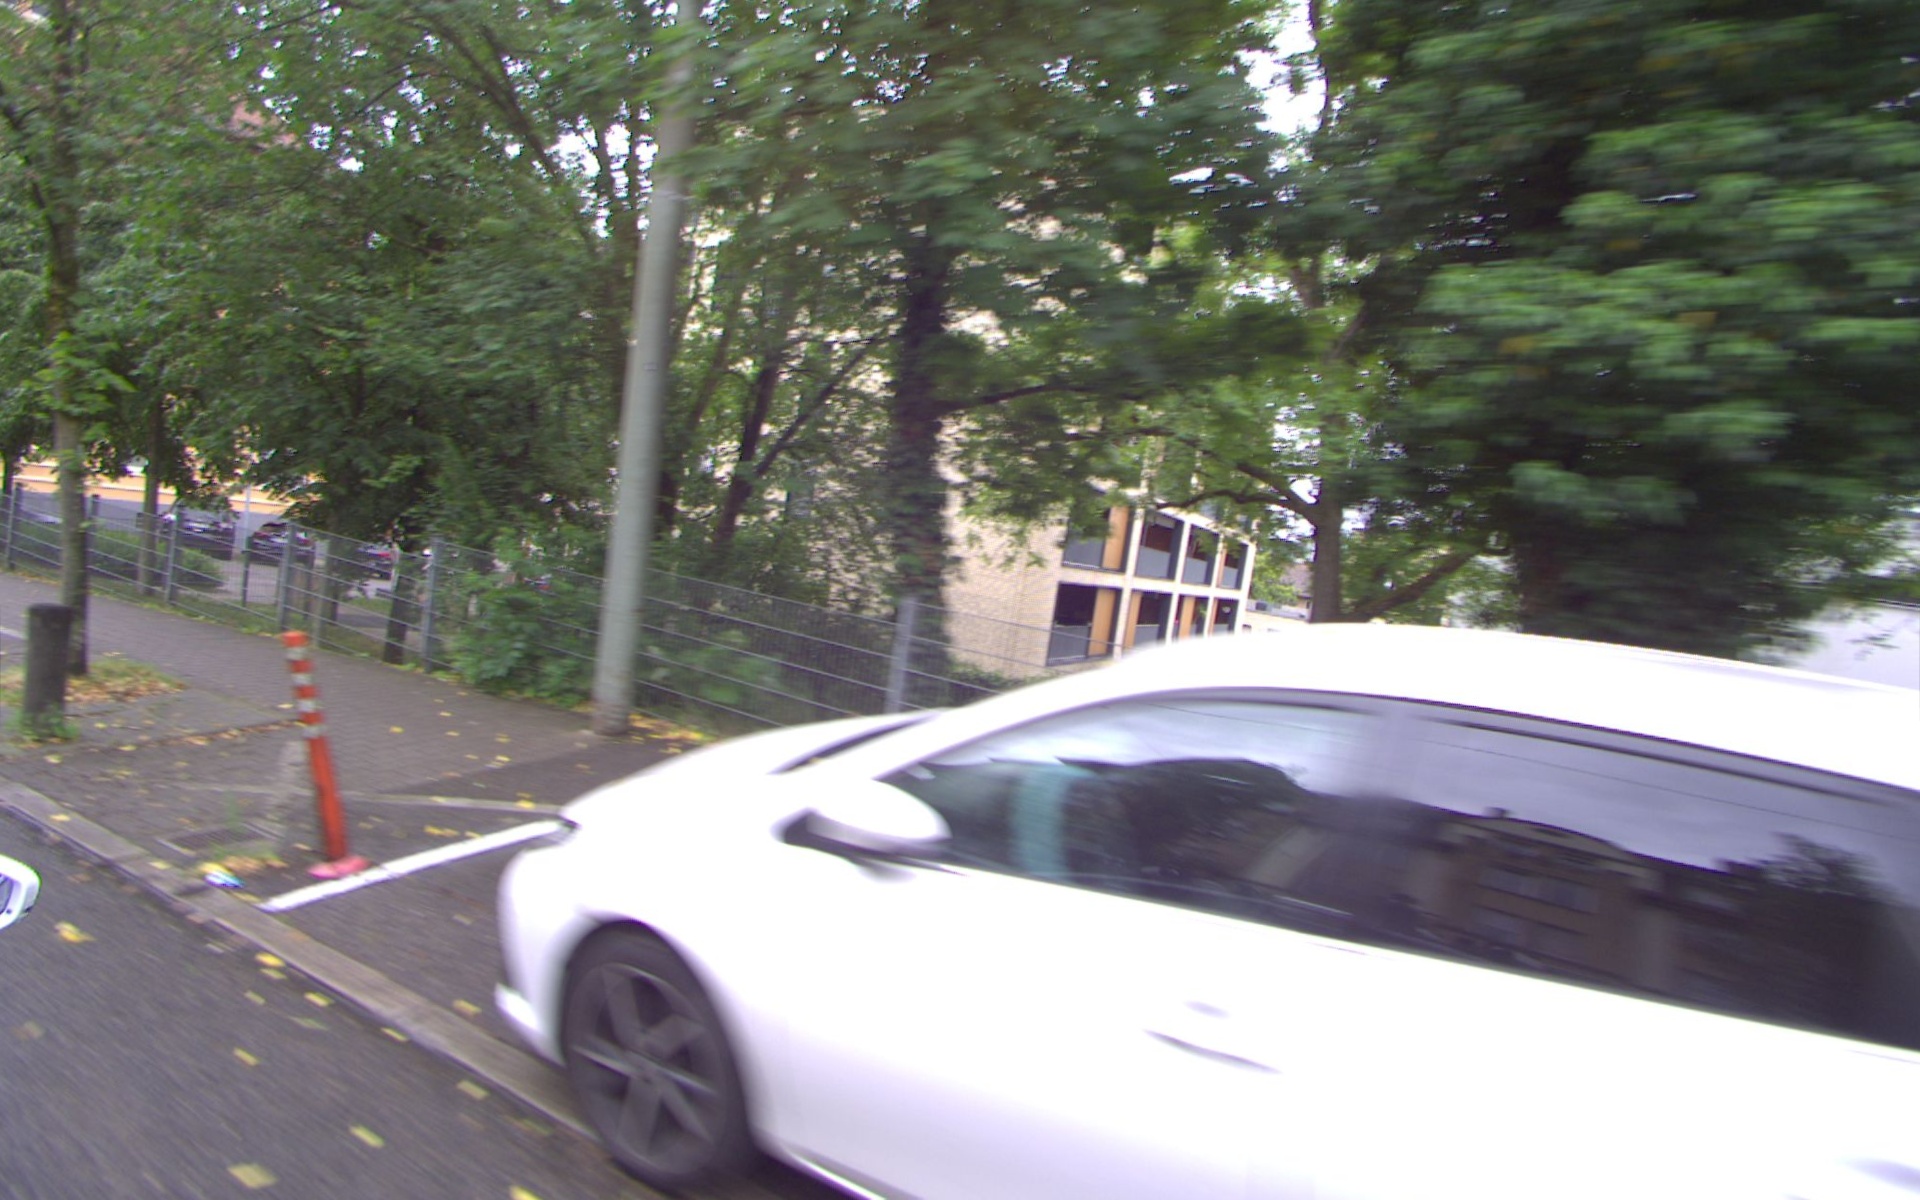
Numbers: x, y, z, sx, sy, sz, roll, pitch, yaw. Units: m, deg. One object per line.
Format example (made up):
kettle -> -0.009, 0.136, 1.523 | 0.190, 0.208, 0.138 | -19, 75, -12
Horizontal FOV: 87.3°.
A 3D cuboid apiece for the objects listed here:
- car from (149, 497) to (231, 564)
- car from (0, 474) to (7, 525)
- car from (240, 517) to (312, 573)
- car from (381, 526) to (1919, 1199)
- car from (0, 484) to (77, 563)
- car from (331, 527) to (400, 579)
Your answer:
car -> -23.872, -2.183, 31.305 | 1.767, 1.687, 3.747 | 8, 0, -36
car -> -27.232, -2.848, 27.262 | 1.770, 1.447, 3.740 | 9, 0, -42
car -> -23.085, -1.887, 33.994 | 1.766, 1.447, 3.749 | 9, 0, -34
car -> 0.565, 0.715, 2.729 | 4.046, 1.471, 1.976 | 6, 2, 32
car -> -21.300, -1.865, 21.010 | 1.751, 1.444, 3.789 | 5, -5, 27
car -> -21.529, -1.714, 36.370 | 1.766, 1.447, 3.749 | 9, 0, -34
